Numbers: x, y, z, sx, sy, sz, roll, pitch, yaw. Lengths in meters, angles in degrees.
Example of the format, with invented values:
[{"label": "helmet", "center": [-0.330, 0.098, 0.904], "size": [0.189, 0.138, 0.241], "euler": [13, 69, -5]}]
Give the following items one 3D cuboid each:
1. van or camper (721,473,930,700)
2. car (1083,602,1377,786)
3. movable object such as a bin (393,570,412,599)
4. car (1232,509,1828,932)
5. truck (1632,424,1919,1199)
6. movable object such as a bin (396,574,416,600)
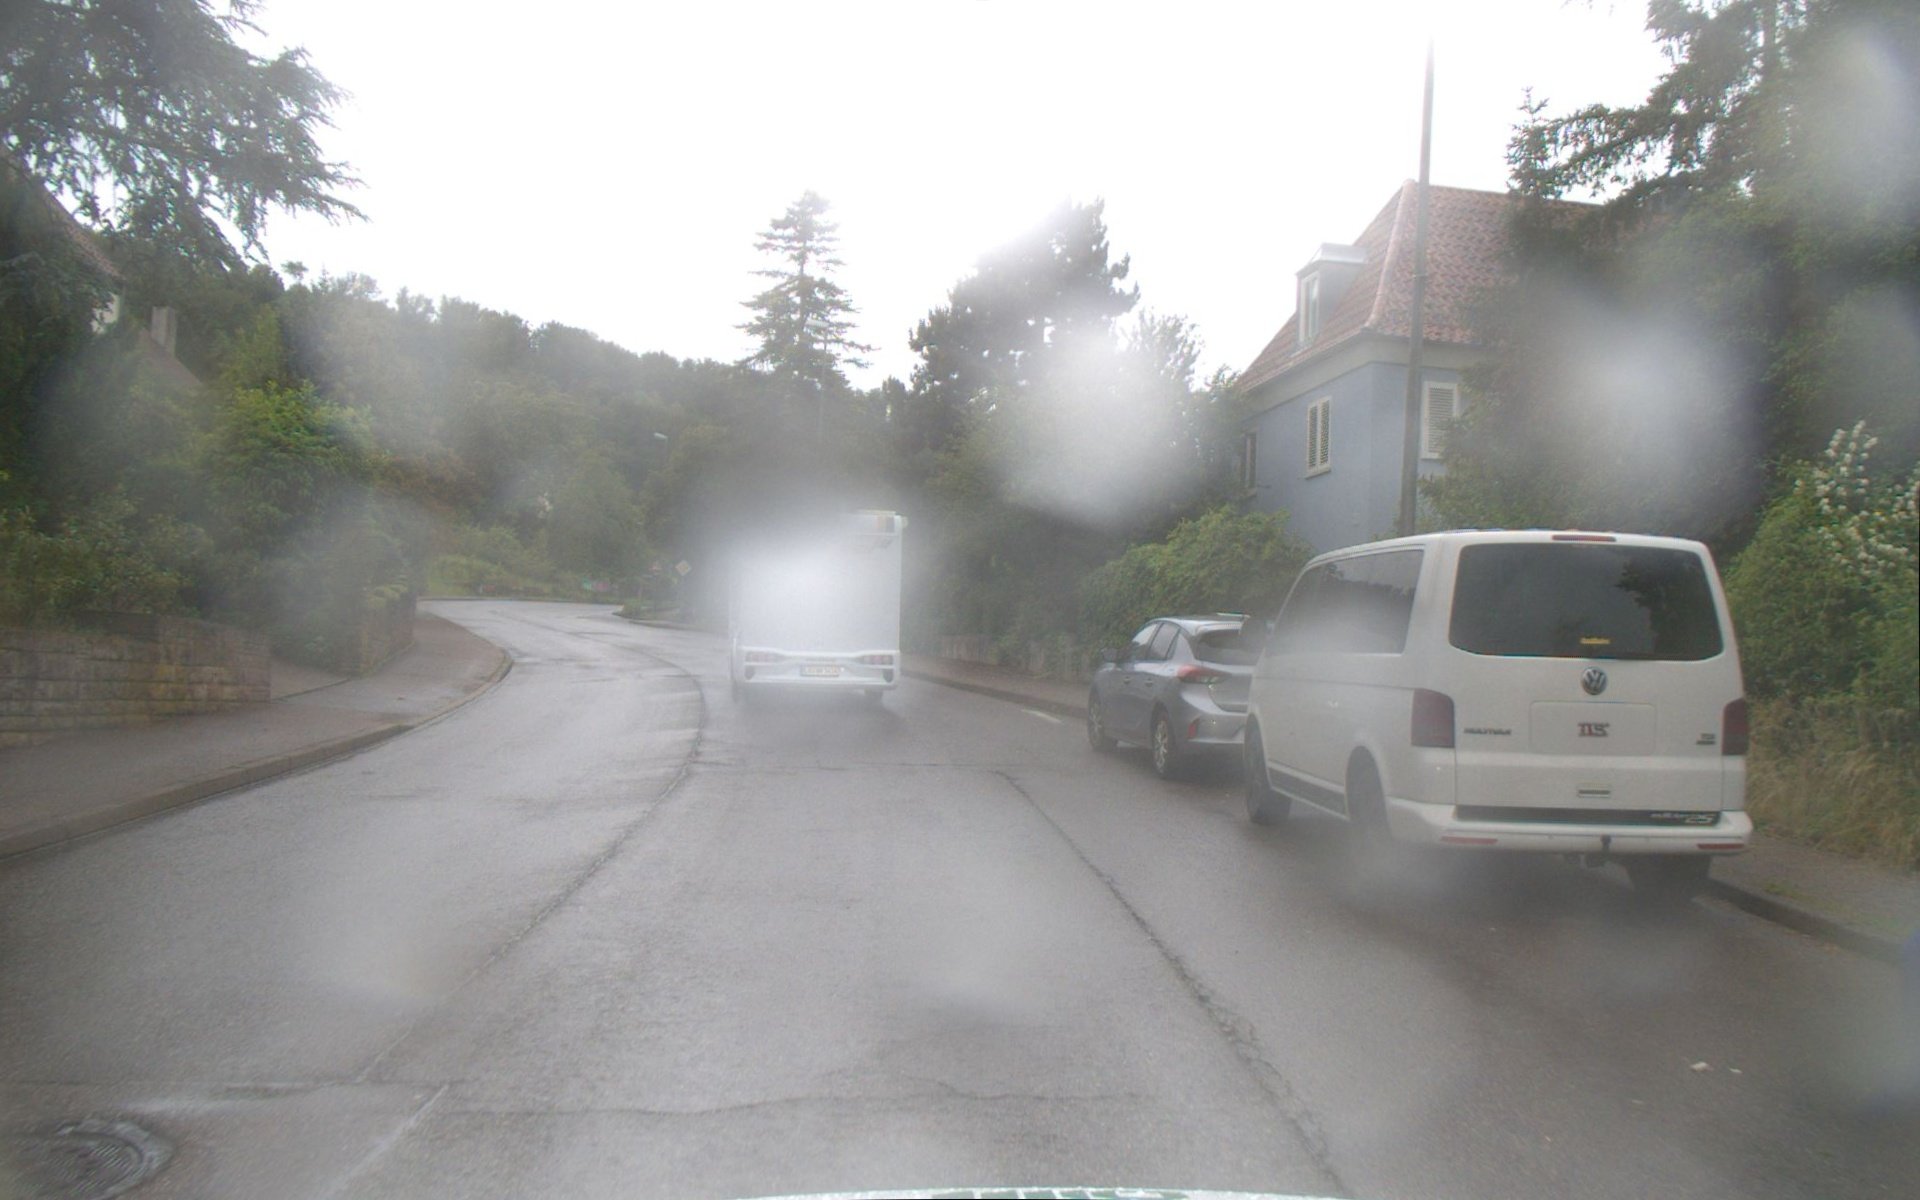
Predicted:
[{"label": "van or camper", "center": [-2.212, -0.111, 25.063], "size": [2.568, 2.903, 6.017], "euler": [3, -2, -9]}, {"label": "car", "center": [2.468, 0.813, 16.139], "size": [1.654, 1.482, 4.050], "euler": [2, 0, -8]}, {"label": "movable object such as a bin", "center": [-25.231, -0.696, 74.848], "size": [0.731, 1.275, 0.752], "euler": [3, 0, -24]}, {"label": "car", "center": [3.150, 0.569, 10.445], "size": [1.823, 1.954, 5.077], "euler": [2, 0, -2]}, {"label": "truck", "center": [3.303, 0.592, 1.961], "size": [2.071, 1.884, 6.616], "euler": [3, 0, -2]}, {"label": "movable object such as a bin", "center": [-24.794, -0.581, 74.002], "size": [0.731, 1.113, 0.752], "euler": [3, 0, -24]}]
